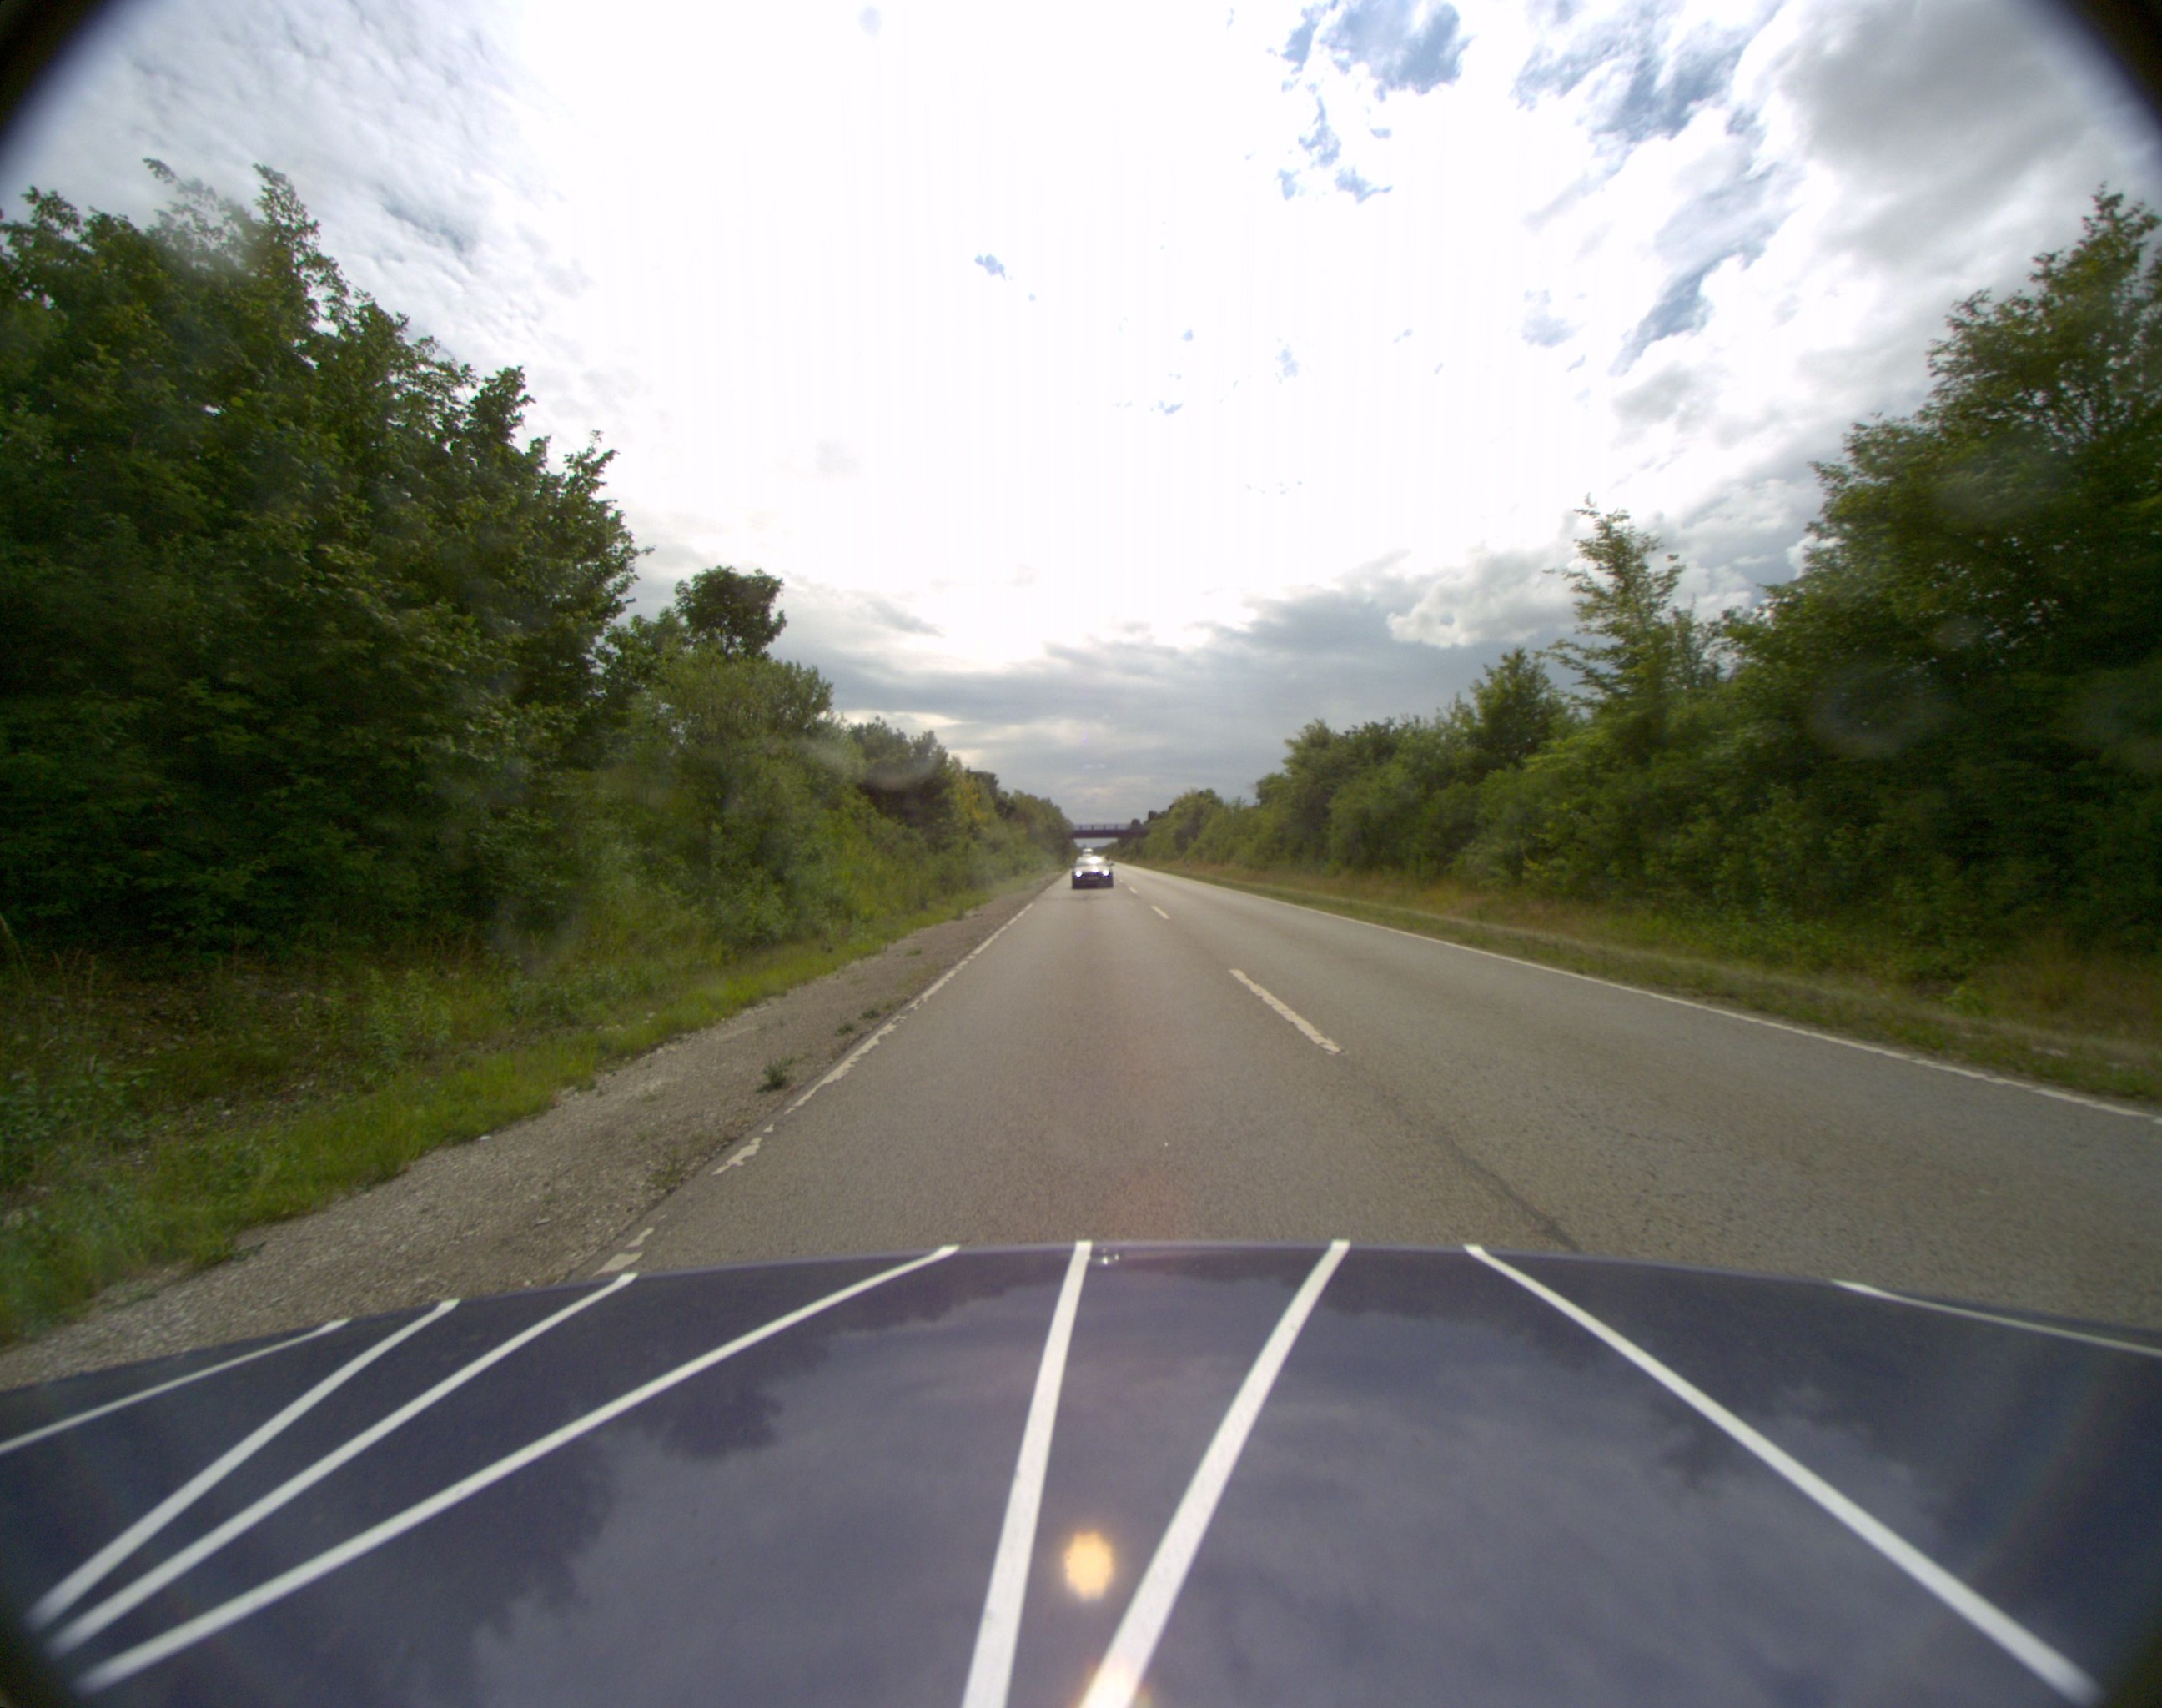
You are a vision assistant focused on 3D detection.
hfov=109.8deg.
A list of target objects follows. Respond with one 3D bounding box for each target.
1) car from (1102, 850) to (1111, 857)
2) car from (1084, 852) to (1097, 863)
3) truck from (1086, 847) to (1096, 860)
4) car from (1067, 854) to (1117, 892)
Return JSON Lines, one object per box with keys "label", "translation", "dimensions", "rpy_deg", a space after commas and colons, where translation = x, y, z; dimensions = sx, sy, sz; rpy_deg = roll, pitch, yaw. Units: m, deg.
{"label": "car", "translation": [5.888, -0.088, 175.199], "dimensions": [1.833, 1.456, 4.411], "rpy_deg": [-2, 0, 1]}
{"label": "car", "translation": [1.479, 0.552, 114.940], "dimensions": [1.870, 1.597, 4.000], "rpy_deg": [-2, 1, 0]}
{"label": "truck", "translation": [1.897, -0.123, 145.813], "dimensions": [1.802, 2.518, 6.685], "rpy_deg": [-2, 1, 1]}
{"label": "car", "translation": [0.482, 0.802, 33.921], "dimensions": [1.998, 1.436, 4.640], "rpy_deg": [-2, 1, 1]}
